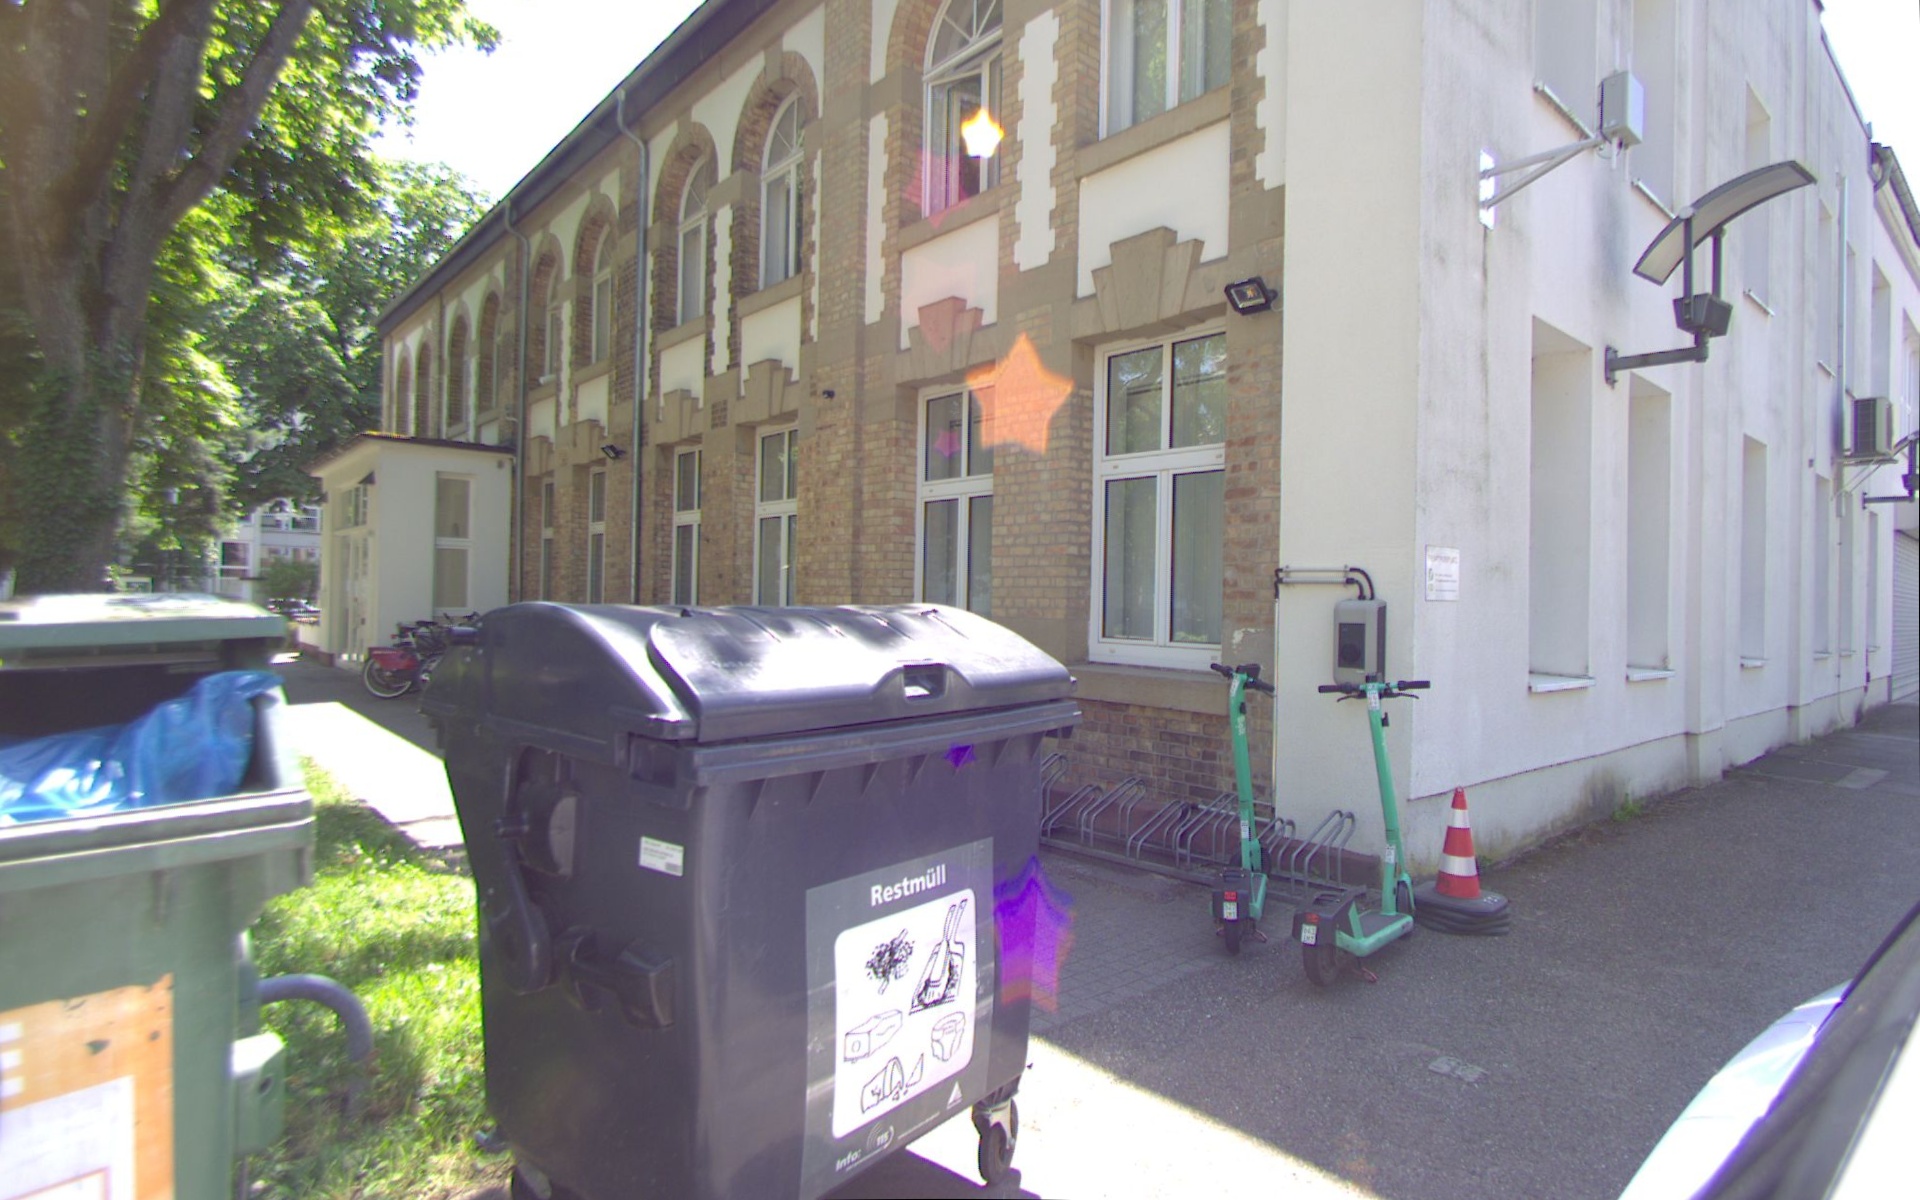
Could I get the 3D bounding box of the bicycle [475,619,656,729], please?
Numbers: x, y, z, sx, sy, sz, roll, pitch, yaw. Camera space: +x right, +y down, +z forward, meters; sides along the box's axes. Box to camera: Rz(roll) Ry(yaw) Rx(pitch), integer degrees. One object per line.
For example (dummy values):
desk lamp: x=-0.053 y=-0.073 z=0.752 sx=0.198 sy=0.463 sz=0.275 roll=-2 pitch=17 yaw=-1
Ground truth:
bicycle: x=-4.375 y=0.785 z=11.310 sx=1.809 sy=1.114 sz=0.522 roll=1 pitch=0 yaw=-40

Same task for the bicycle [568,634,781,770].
bicycle: x=-2.576 y=0.884 z=9.273 sx=1.802 sy=1.117 sz=0.522 roll=2 pitch=-1 yaw=-40

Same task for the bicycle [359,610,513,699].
bicycle: x=-7.199 y=0.719 z=13.943 sx=1.807 sy=1.157 sz=0.589 roll=1 pitch=0 yaw=-36

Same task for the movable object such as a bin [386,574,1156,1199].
movable object such as a bin: x=-0.389 y=0.712 z=2.451 sx=1.153 sy=1.524 sz=1.442 roll=0 pitch=0 yaw=40

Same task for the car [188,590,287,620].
car: x=-32.244 y=0.229 z=45.241 sx=3.270 sy=1.307 sz=1.501 roll=0 pitch=0 yaw=-16

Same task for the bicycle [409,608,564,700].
bicycle: x=-6.381 y=0.692 z=13.699 sx=1.809 sy=1.157 sz=0.589 roll=1 pitch=0 yaw=-40

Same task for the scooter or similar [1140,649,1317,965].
scooter or similar: x=1.284 y=0.861 z=4.709 sx=0.461 sy=1.188 sz=1.242 roll=1 pitch=0 yaw=31

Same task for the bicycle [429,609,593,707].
bicycle: x=-5.694 y=0.699 z=12.901 sx=1.809 sy=1.157 sz=0.589 roll=1 pitch=0 yaw=-40

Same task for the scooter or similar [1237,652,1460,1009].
scooter or similar: x=1.676 y=0.853 z=4.261 sx=0.463 sy=1.188 sz=1.337 roll=1 pitch=0 yaw=40

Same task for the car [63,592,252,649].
car: x=-22.703 y=0.535 z=28.809 sx=1.685 sy=1.482 sz=3.910 roll=1 pitch=1 yaw=21

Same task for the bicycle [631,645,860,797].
bicycle: x=-1.716 y=0.936 z=8.309 sx=1.802 sy=1.081 sz=0.504 roll=1 pitch=-1 yaw=-40

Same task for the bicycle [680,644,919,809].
bicycle: x=-1.185 y=0.905 z=7.771 sx=1.803 sy=1.081 sz=0.504 roll=1 pitch=0 yaw=-40

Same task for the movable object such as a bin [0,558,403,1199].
movable object such as a bin: x=-1.566 y=0.703 z=1.204 sx=1.178 sy=1.488 sz=1.291 roll=0 pitch=0 yaw=43

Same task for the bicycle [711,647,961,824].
bicycle: x=-0.849 y=0.913 z=7.312 sx=1.803 sy=1.081 sz=0.504 roll=1 pitch=0 yaw=-40

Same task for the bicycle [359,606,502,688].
bicycle: x=-7.939 y=0.674 z=15.214 sx=1.809 sy=1.157 sz=0.589 roll=1 pitch=0 yaw=-40

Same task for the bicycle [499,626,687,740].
bicycle: x=-3.855 y=0.835 z=10.739 sx=1.803 sy=1.083 sz=0.522 roll=1 pitch=0 yaw=-40

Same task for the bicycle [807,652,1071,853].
bicycle: x=-0.083 y=0.906 z=6.505 sx=1.803 sy=1.081 sz=0.454 roll=1 pitch=0 yaw=-40

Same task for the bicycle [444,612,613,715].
bicycle: x=-5.262 y=0.739 z=12.417 sx=1.809 sy=1.157 sz=0.589 roll=1 pitch=0 yaw=-40

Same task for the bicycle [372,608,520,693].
bicycle: x=-7.425 y=0.699 z=14.670 sx=1.809 sy=1.157 sz=0.589 roll=1 pitch=0 yaw=-40

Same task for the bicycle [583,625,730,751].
bicycle: x=-3.004 y=0.827 z=10.203 sx=0.466 sy=1.117 sz=1.825 roll=1 pitch=0 yaw=17

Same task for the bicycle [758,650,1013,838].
bicycle: x=-0.459 y=0.913 z=6.909 sx=1.803 sy=1.081 sz=0.454 roll=1 pitch=0 yaw=-40

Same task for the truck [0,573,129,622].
truck: x=-35.152 y=-0.116 z=39.028 sx=4.549 sy=1.856 sz=1.658 roll=-1 pitch=0 yaw=-27

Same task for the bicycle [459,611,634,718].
bicycle: x=-4.845 y=0.721 z=11.936 sx=1.809 sy=1.157 sz=0.589 roll=1 pitch=0 yaw=-40
